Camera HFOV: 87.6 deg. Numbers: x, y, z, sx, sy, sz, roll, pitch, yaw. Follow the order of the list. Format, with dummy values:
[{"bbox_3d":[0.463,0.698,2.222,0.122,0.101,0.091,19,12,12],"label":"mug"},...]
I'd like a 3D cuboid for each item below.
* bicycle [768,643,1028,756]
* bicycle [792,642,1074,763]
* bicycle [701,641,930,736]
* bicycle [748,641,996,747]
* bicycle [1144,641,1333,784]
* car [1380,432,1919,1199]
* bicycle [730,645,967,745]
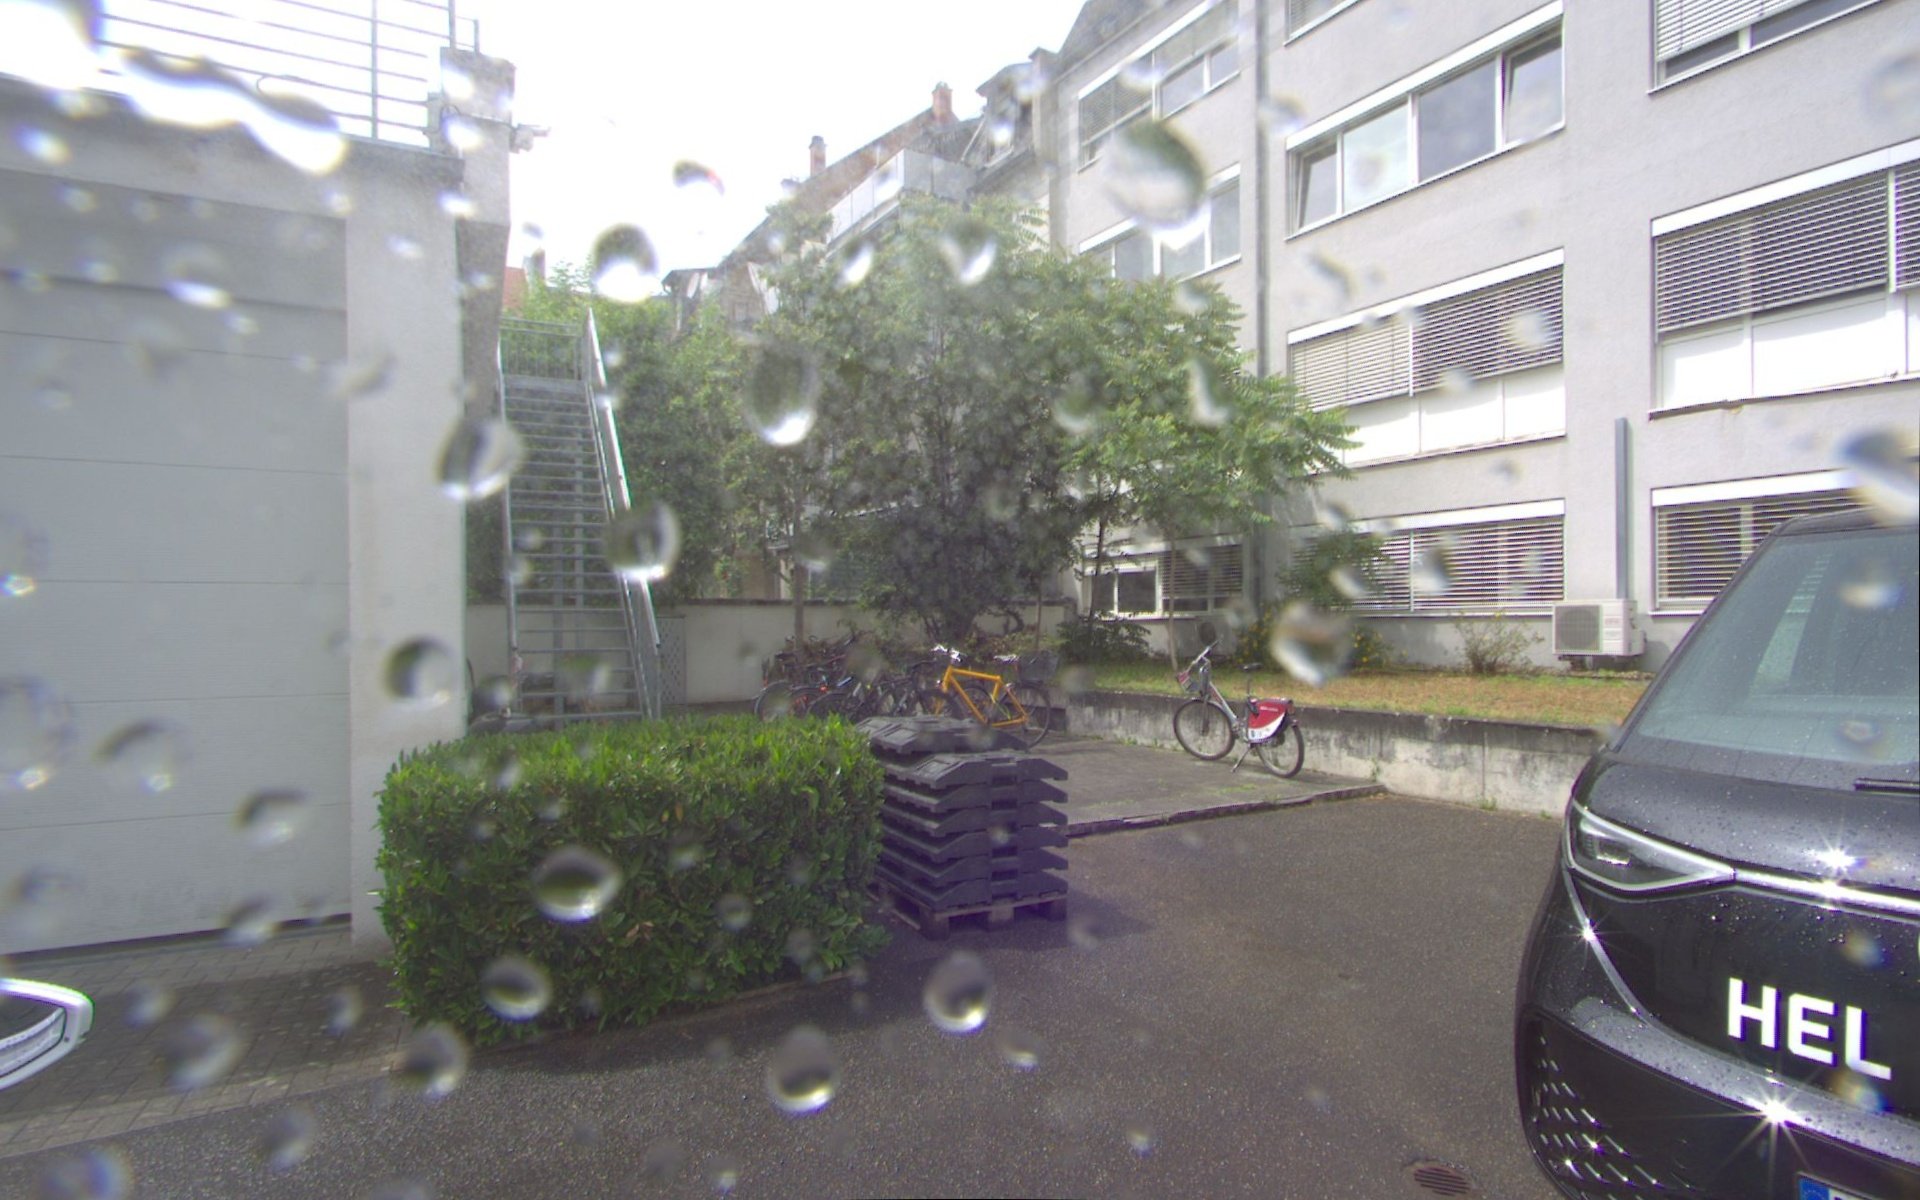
[{"bbox_3d":[-0.624,1.047,10.921,2.812,1.092,0.686,2,-1,-30],"label":"bicycle"},{"bbox_3d":[-0.215,0.999,10.229,2.891,1.092,0.686,2,-1,-30],"label":"bicycle"},{"bbox_3d":[-1.789,1.093,12.714,2.812,1.092,0.686,2,-1,-30],"label":"bicycle"},{"bbox_3d":[-0.965,1.049,11.555,2.812,1.092,0.686,2,-1,-30],"label":"bicycle"},{"bbox_3d":[2.541,0.982,9.323,0.607,1.173,1.712,0,-1,-33],"label":"bicycle"},{"bbox_3d":[3.507,0.638,2.776,4.662,1.857,2.098,-1,0,-34],"label":"car"},{"bbox_3d":[-1.310,1.118,12.178,2.812,1.092,0.686,2,-1,-30],"label":"bicycle"}]
